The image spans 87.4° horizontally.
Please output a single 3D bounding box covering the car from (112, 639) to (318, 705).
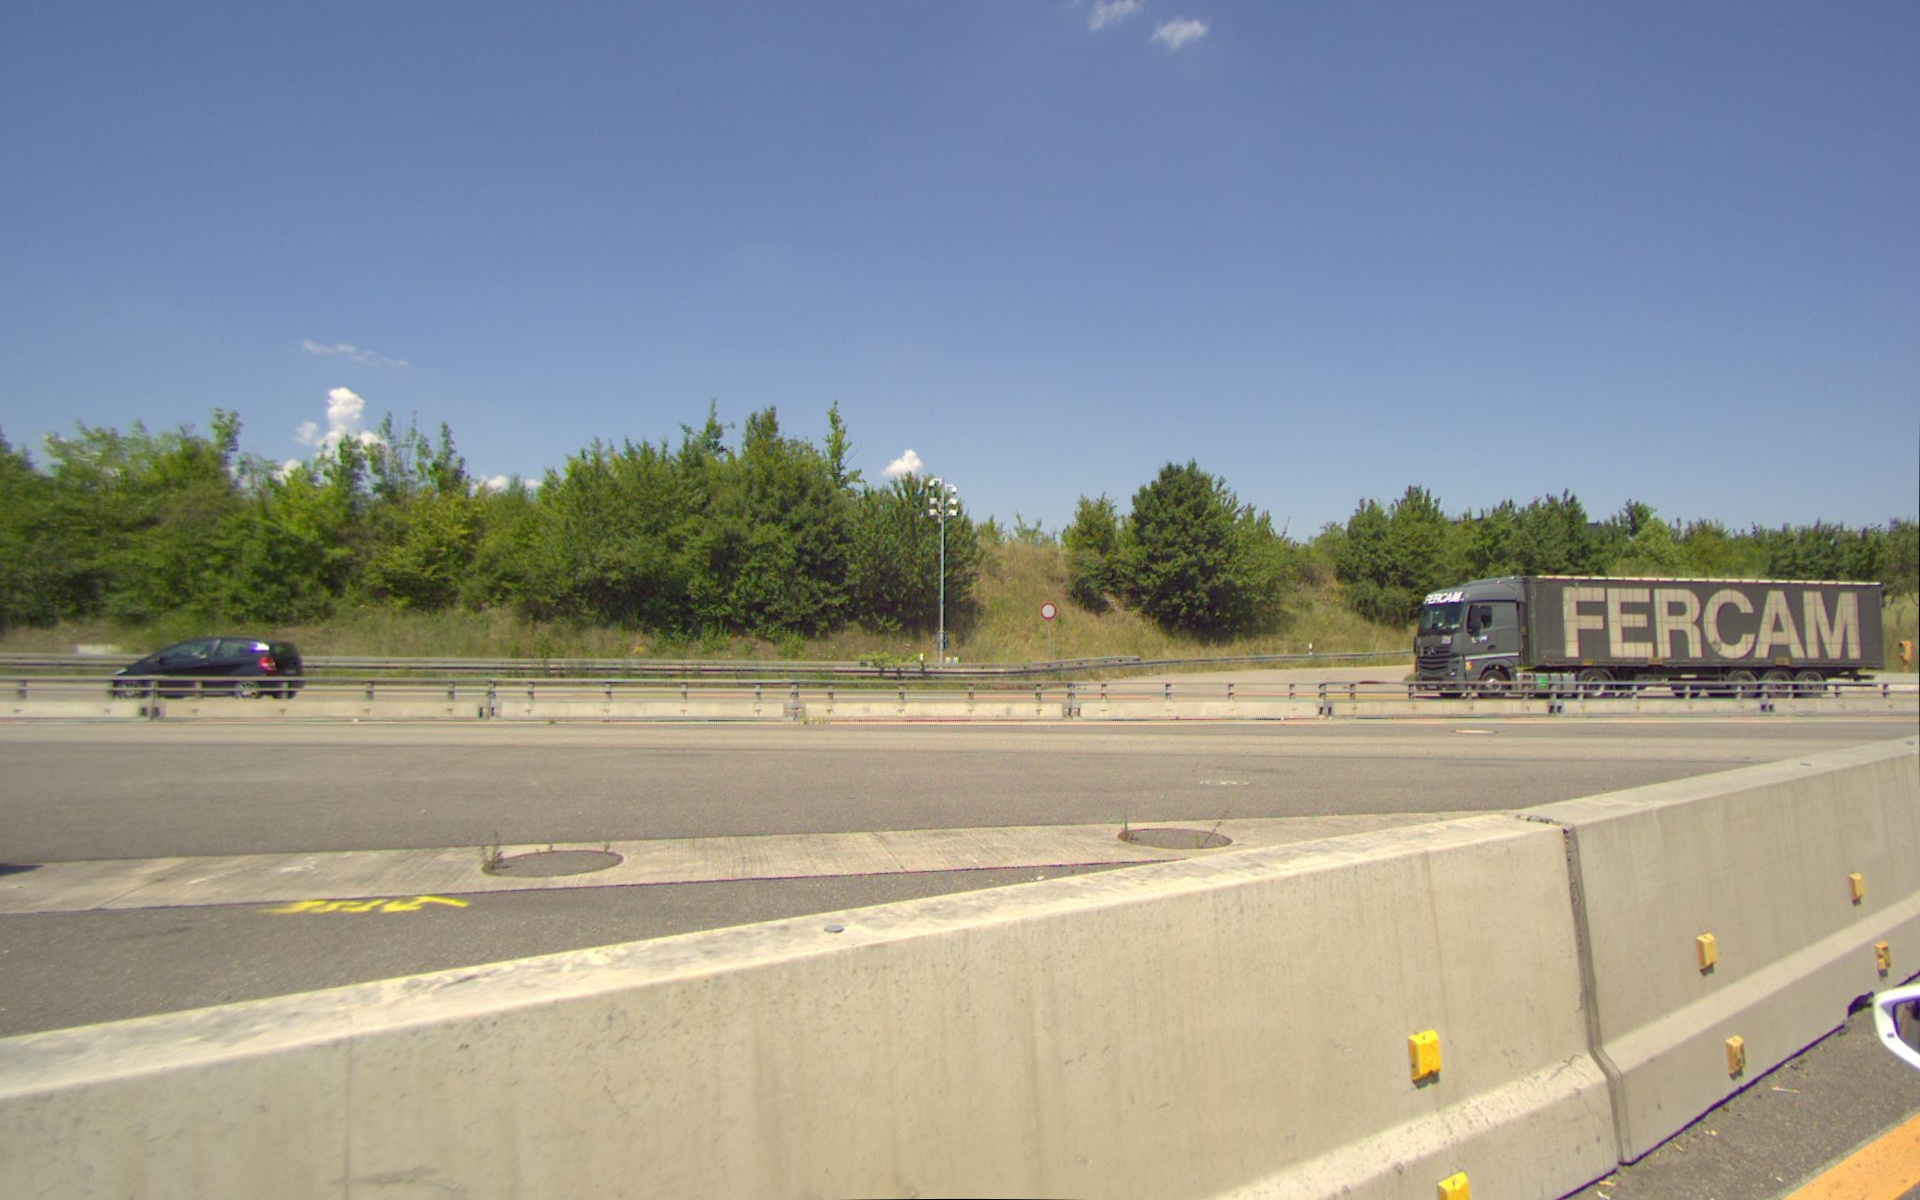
[{"bbox_3d":[-18.164,1.757,24.660,3.623,1.511,1.718,1,-1,-11],"label":"car"}]

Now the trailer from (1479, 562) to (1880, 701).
[{"bbox_3d":[24.673,1.164,34.409,13.562,4.353,2.439,1,-1,-10],"label":"trailer"}]

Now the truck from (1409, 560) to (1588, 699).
[{"bbox_3d":[17.701,0.988,33.115,4.753,4.326,2.435,1,-1,-11],"label":"truck"}]
